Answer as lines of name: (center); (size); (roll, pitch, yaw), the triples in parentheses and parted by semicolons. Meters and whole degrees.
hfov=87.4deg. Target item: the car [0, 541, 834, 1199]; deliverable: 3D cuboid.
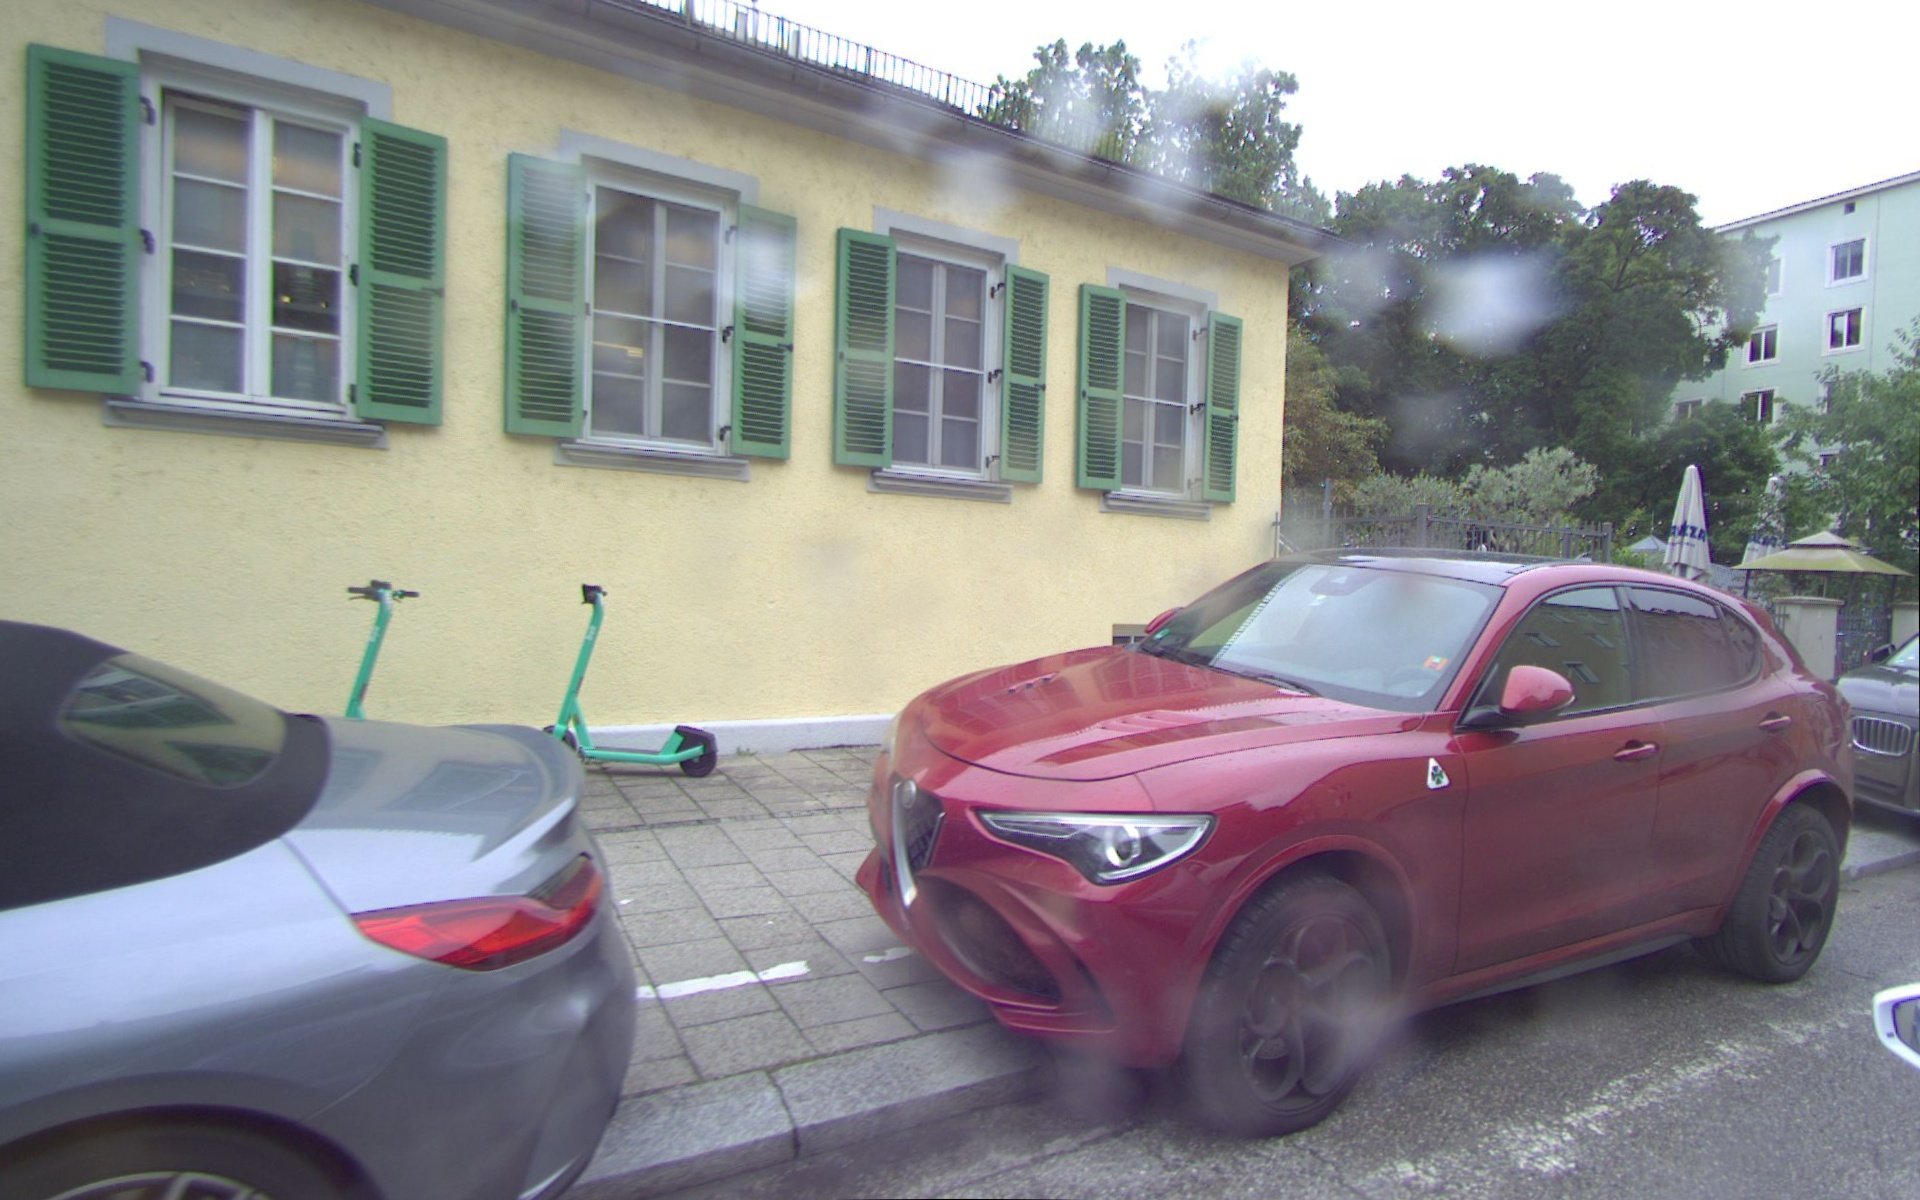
car: (-2.706, 0.647, 1.541); (4.603, 1.539, 1.886); (1, 2, -32)

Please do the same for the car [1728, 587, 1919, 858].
car: (7.961, 0.831, 7.366); (4.682, 1.629, 1.838); (2, 2, -28)

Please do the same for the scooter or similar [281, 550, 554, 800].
scooter or similar: (-3.102, 0.421, 5.794); (1.326, 1.361, 0.376); (2, 1, -3)

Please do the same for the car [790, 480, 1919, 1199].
car: (1.876, 0.593, 4.271); (4.748, 1.714, 1.894); (2, 2, -28)

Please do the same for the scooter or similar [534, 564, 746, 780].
scooter or similar: (-2.049, 0.458, 6.509); (1.229, 1.332, 0.364); (2, 1, -5)
